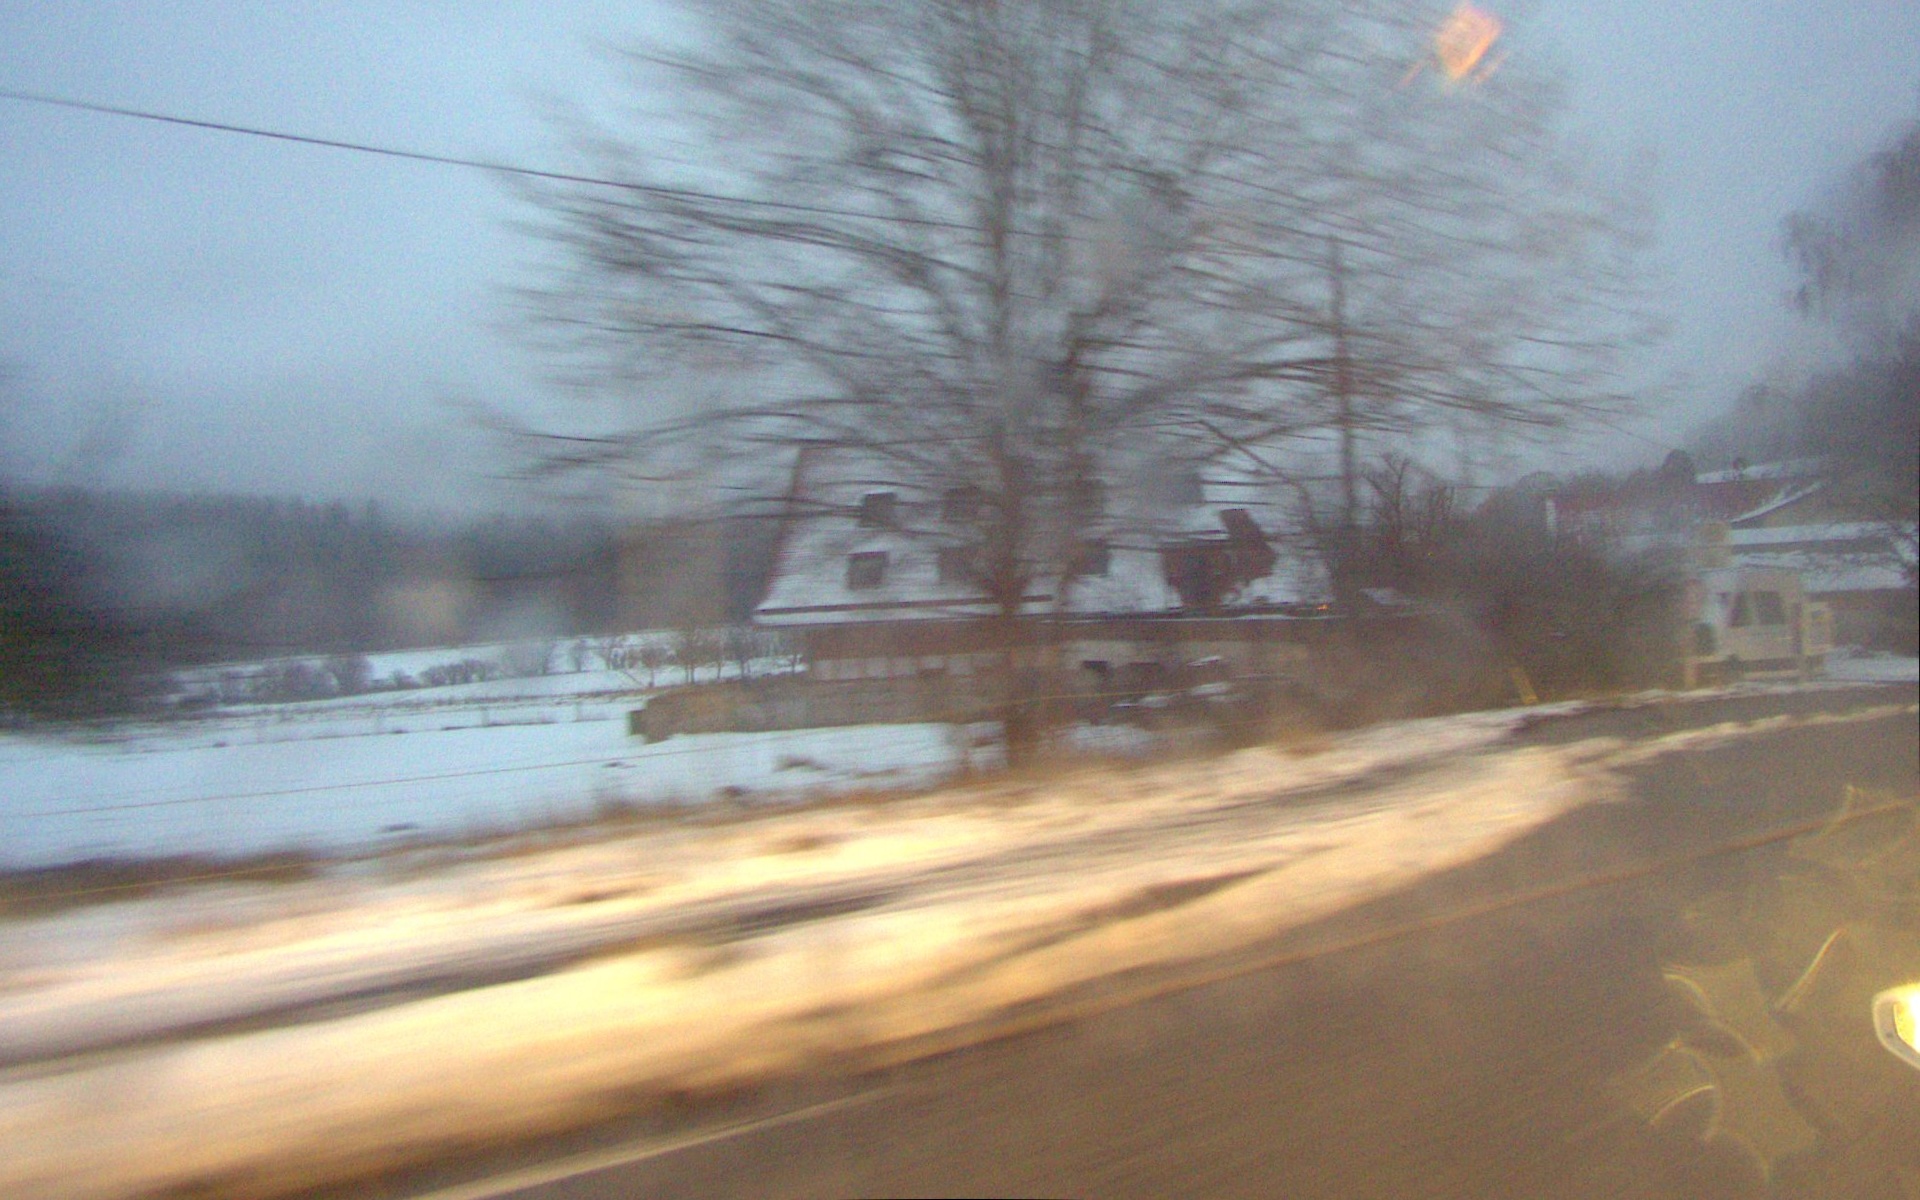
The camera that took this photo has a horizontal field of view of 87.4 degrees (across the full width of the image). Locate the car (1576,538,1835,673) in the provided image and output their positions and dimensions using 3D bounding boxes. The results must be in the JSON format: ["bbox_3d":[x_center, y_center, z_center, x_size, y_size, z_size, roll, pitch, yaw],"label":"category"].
[{"bbox_3d":[16.504,0.100,22.135,6.156,2.605,2.457,0,1,-31],"label":"car"}]
